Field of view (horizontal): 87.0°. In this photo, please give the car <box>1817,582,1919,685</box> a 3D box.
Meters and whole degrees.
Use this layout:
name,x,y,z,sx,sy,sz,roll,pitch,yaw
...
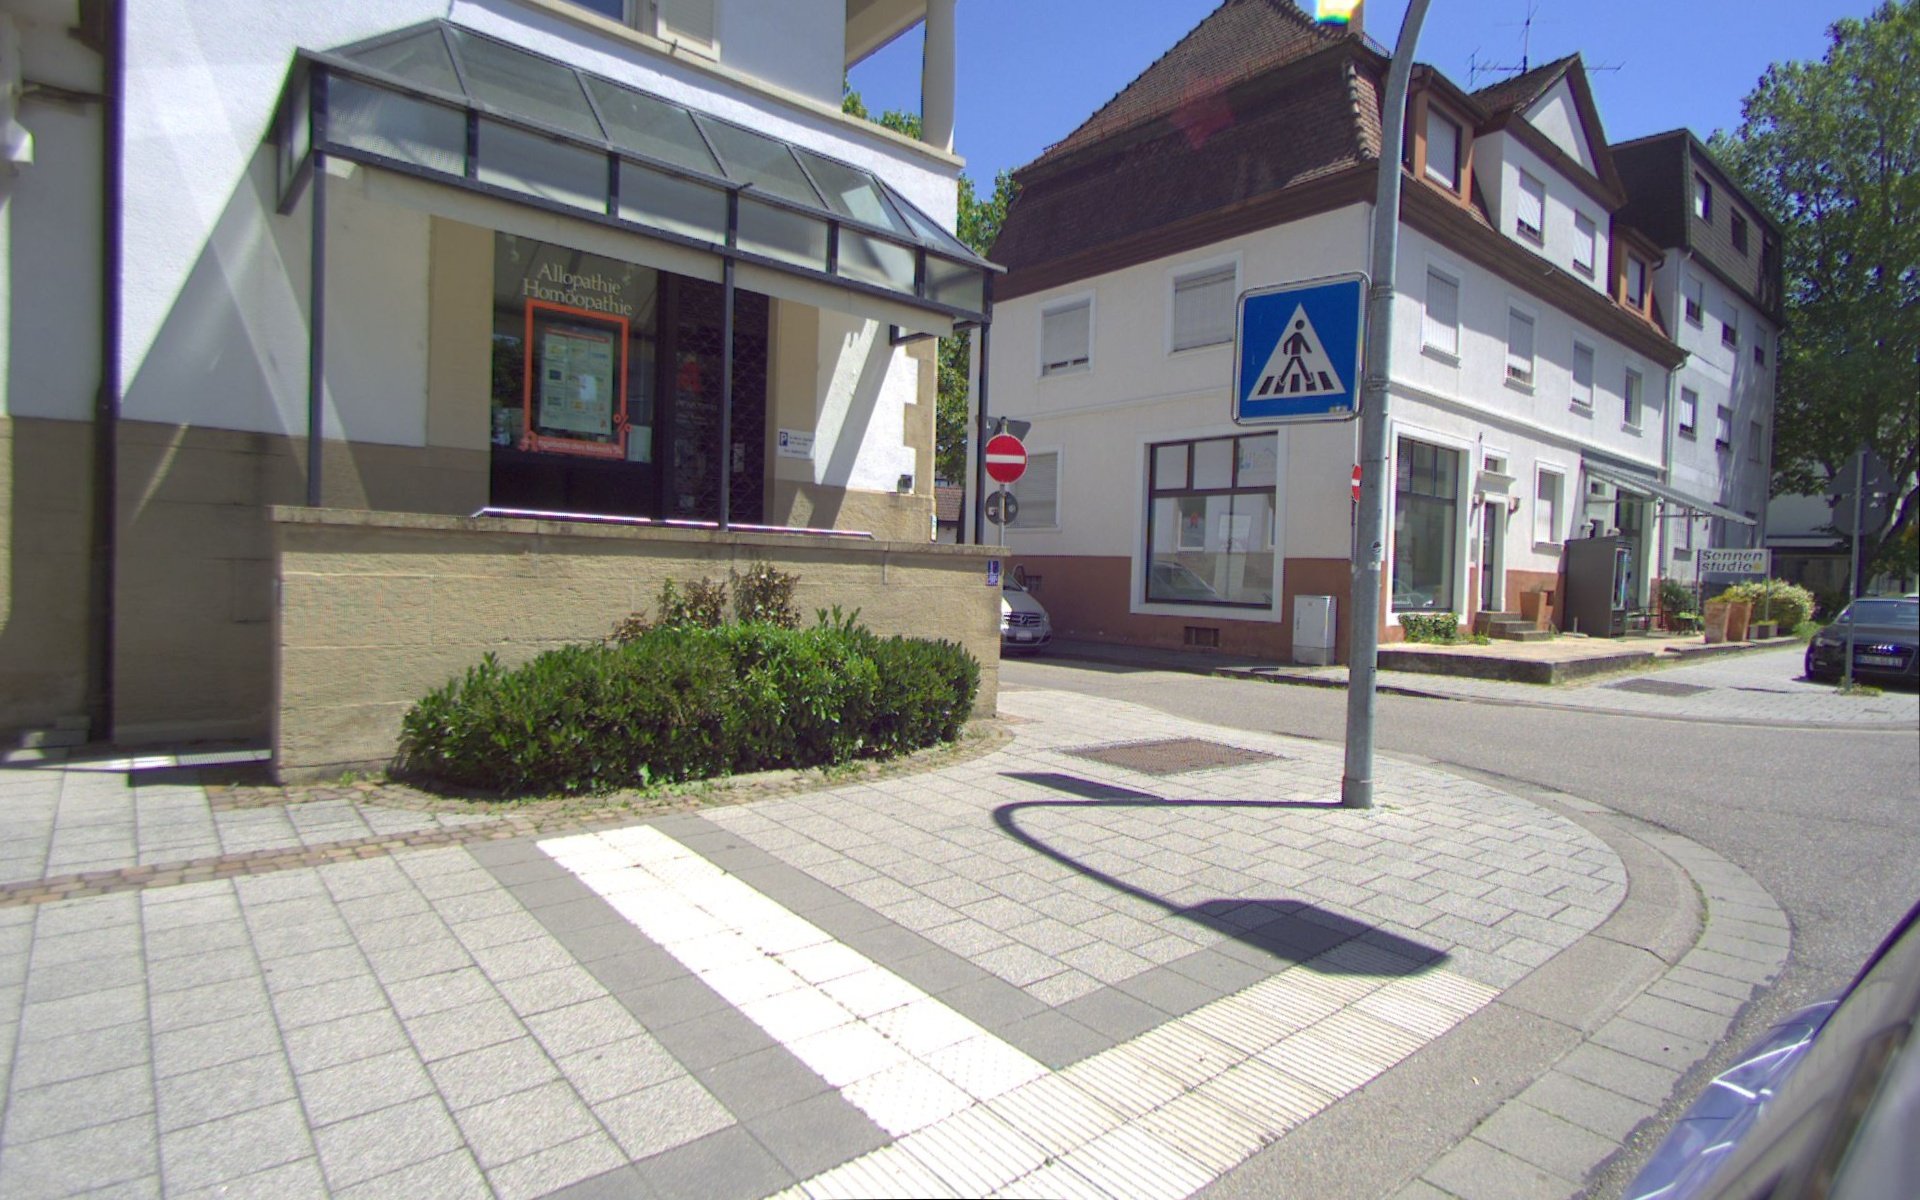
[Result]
name,x,y,z,sx,sy,sz,roll,pitch,yaw
car,15.635,0.479,16.433,4.617,1.444,1.831,-1,4,-40

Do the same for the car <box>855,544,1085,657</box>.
name,x,y,z,sx,sy,sz,roll,pitch,yaw
car,0.043,-0.051,19.519,1.892,1.899,4.810,2,1,-36

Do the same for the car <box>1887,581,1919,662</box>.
name,x,y,z,sx,sy,sz,roll,pitch,yaw
car,20.117,0.426,20.181,4.766,1.486,1.748,-1,5,-40

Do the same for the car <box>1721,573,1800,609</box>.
name,x,y,z,sx,sy,sz,roll,pitch,yaw
car,36.354,-0.463,46.064,1.715,1.518,3.443,2,2,19
